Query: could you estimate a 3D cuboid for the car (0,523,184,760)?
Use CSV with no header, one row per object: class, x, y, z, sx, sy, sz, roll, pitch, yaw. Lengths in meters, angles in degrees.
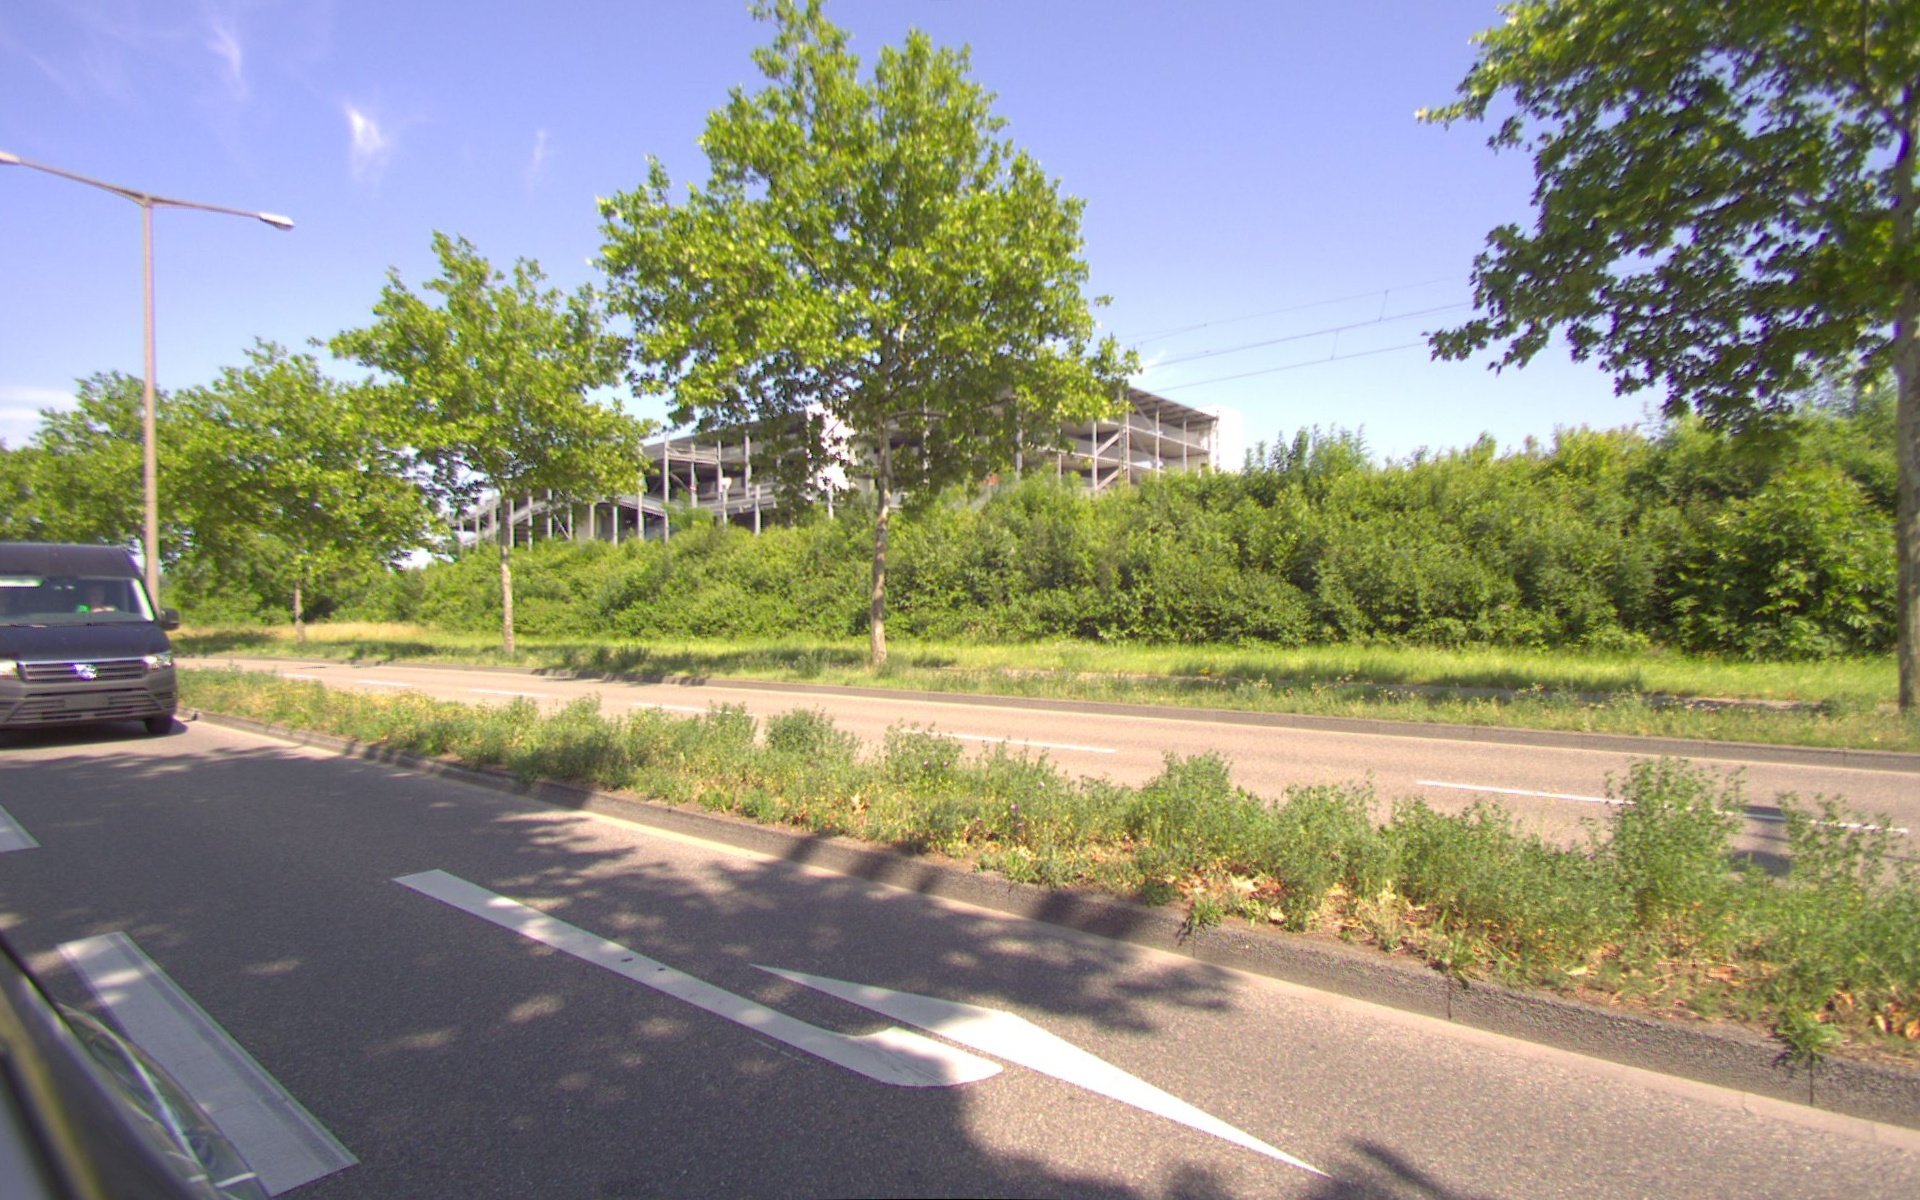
car,-12.558,0.491,13.739,6.165,2.627,1.995,-1,0,41
